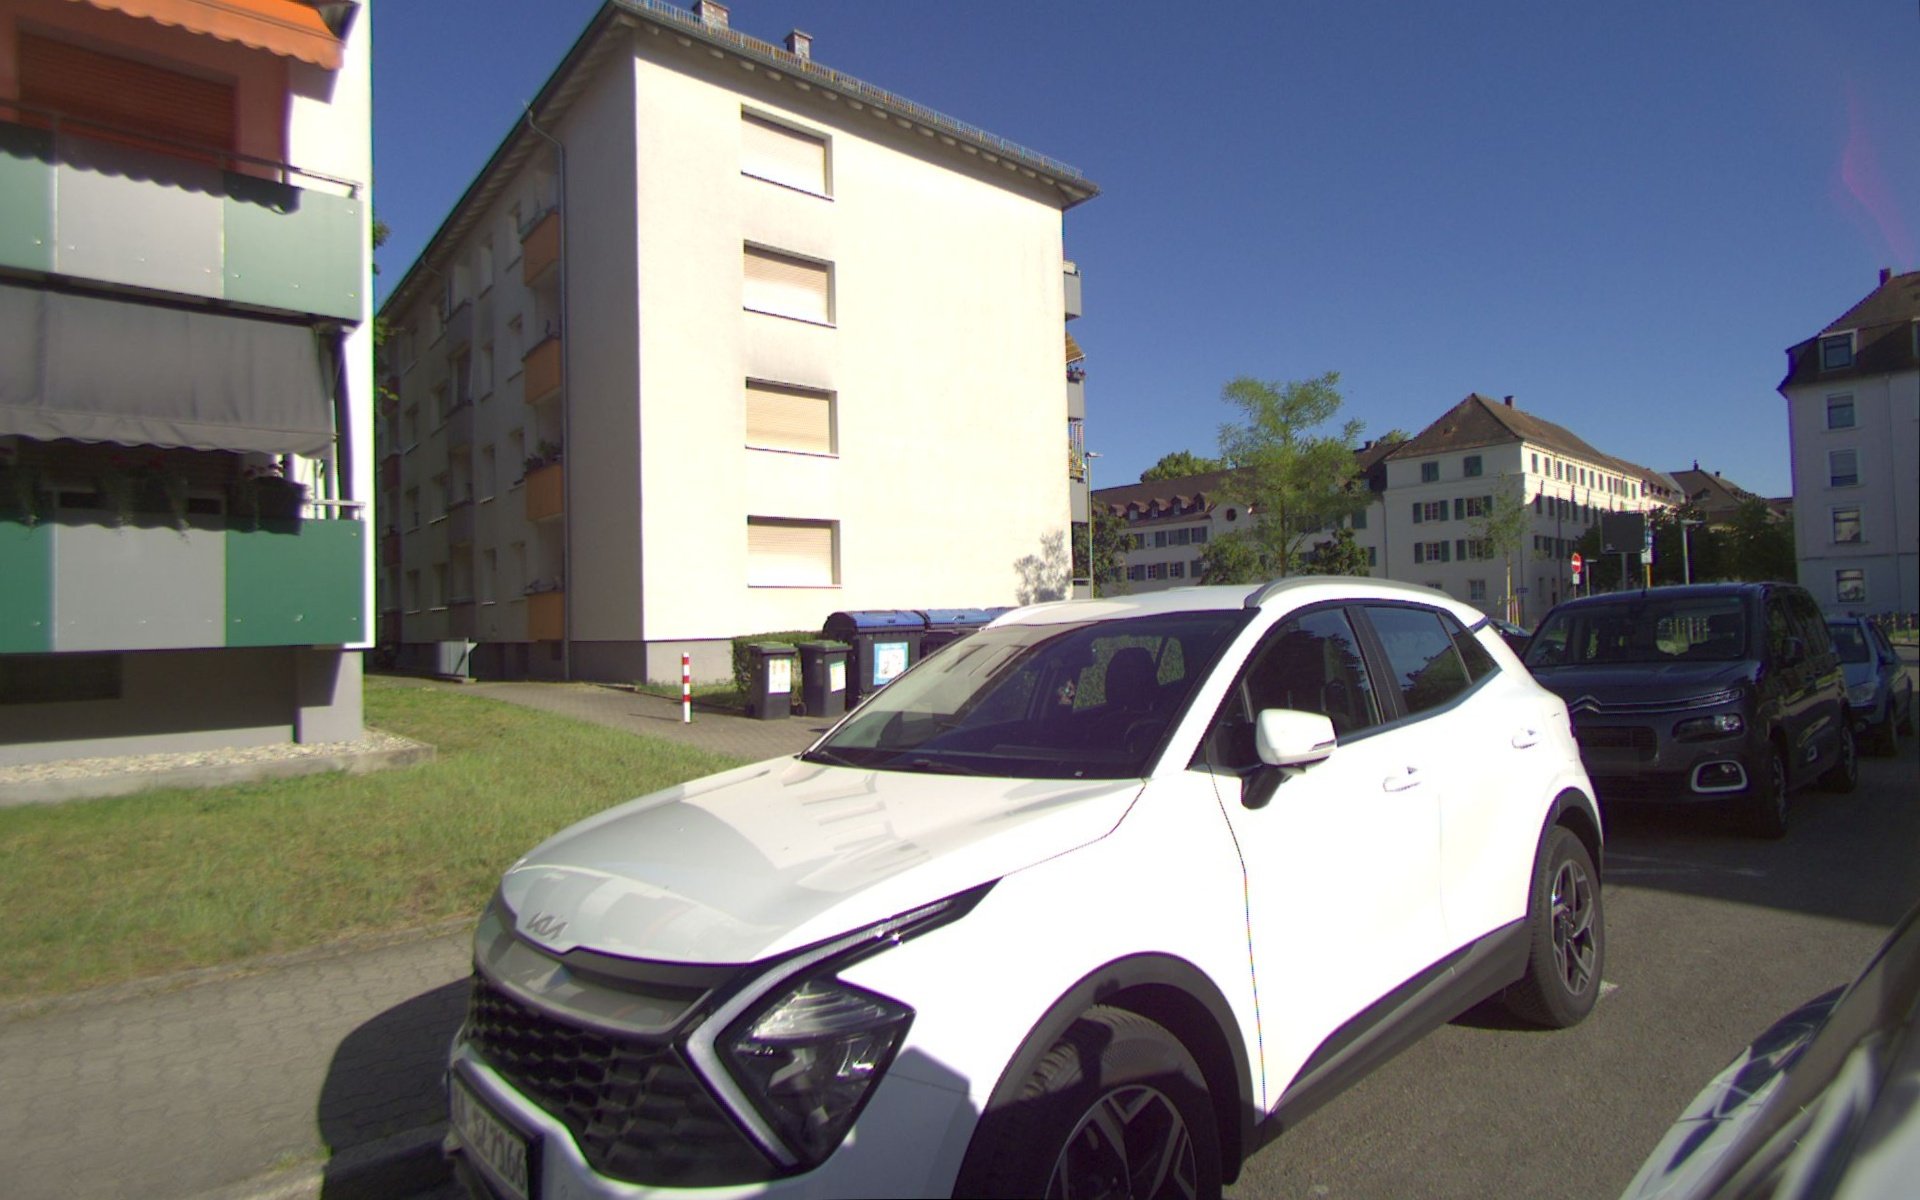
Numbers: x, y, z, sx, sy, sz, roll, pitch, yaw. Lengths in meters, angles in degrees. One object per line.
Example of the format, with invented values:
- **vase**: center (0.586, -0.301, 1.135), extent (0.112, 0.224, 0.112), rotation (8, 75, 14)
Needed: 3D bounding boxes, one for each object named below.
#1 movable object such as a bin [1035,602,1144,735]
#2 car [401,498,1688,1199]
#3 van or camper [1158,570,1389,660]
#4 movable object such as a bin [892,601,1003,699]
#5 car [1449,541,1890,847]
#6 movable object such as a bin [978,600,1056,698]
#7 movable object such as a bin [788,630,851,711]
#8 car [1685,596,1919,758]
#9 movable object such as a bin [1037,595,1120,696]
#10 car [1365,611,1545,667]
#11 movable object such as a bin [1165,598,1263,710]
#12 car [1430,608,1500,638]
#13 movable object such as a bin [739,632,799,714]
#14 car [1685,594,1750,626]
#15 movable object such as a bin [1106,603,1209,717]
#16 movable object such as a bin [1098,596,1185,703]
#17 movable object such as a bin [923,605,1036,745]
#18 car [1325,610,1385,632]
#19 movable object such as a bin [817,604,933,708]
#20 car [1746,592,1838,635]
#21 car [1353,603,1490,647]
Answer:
- **movable object such as a bin**: center (1.512, 0.771, 11.860), extent (0.852, 1.466, 0.920), rotation (0, -2, -42)
- **car**: center (0.790, 0.708, 3.508), extent (4.502, 1.613, 1.802), rotation (0, -3, -42)
- **van or camper**: center (9.656, 0.469, 31.961), extent (2.137, 2.532, 6.979), rotation (0, -1, -38)
- **movable object such as a bin**: center (-0.204, 0.766, 16.181), extent (1.257, 1.466, 1.237), rotation (0, -1, -43)
- **car**: center (5.847, 0.628, 8.143), extent (4.180, 1.824, 1.852), rotation (0, -5, -42)
- **movable object such as a bin**: center (0.933, 0.779, 16.593), extent (0.906, 1.539, 0.865), rotation (0, -1, -42)
- **movable object such as a bin**: center (-2.002, 0.991, 14.418), extent (0.570, 1.066, 0.717), rotation (0, 1, -43)
- **car**: center (10.014, 0.801, 11.767), extent (3.885, 1.557, 1.725), rotation (0, -4, -43)
- **movable object such as a bin**: center (1.797, 0.666, 15.374), extent (0.907, 1.466, 0.864), rotation (0, -1, -45)
- **car**: center (13.219, 0.993, 27.212), extent (1.769, 1.367, 3.996), rotation (0, -1, -38)
- **movable object such as a bin**: center (3.367, 0.692, 13.425), extent (0.852, 1.416, 0.920), rotation (0, -2, -42)
- **car**: center (35.797, 1.616, 71.785), extent (1.966, 2.039, 3.991), rotation (0, -1, -42)
- **movable object such as a bin**: center (-2.673, 0.998, 14.127), extent (0.570, 1.066, 0.627), rotation (0, 1, -43)
- **car**: center (34.890, 0.454, 46.692), extent (1.656, 1.394, 3.766), rotation (-1, -1, 26)
- **movable object such as a bin**: center (2.457, 0.724, 12.635), extent (0.852, 1.342, 0.920), rotation (0, -2, -42)
- **movable object such as a bin**: center (2.622, 0.689, 14.620), extent (0.907, 1.466, 0.864), rotation (0, -1, -45)
- **movable object such as a bin**: center (0.216, 0.795, 11.250), extent (0.907, 1.466, 0.864), rotation (0, -1, -45)
- **car**: center (30.518, 1.652, 78.287), extent (1.619, 1.661, 3.992), rotation (0, -1, -41)
- **movable object such as a bin**: center (-1.295, 0.808, 15.328), extent (1.257, 1.466, 1.237), rotation (0, -1, -43)
- **car**: center (29.385, 0.470, 35.864), extent (1.656, 1.459, 3.766), rotation (-1, -1, 26)
- **car**: center (15.522, 0.823, 34.207), extent (1.494, 1.367, 3.996), rotation (0, -1, -38)
